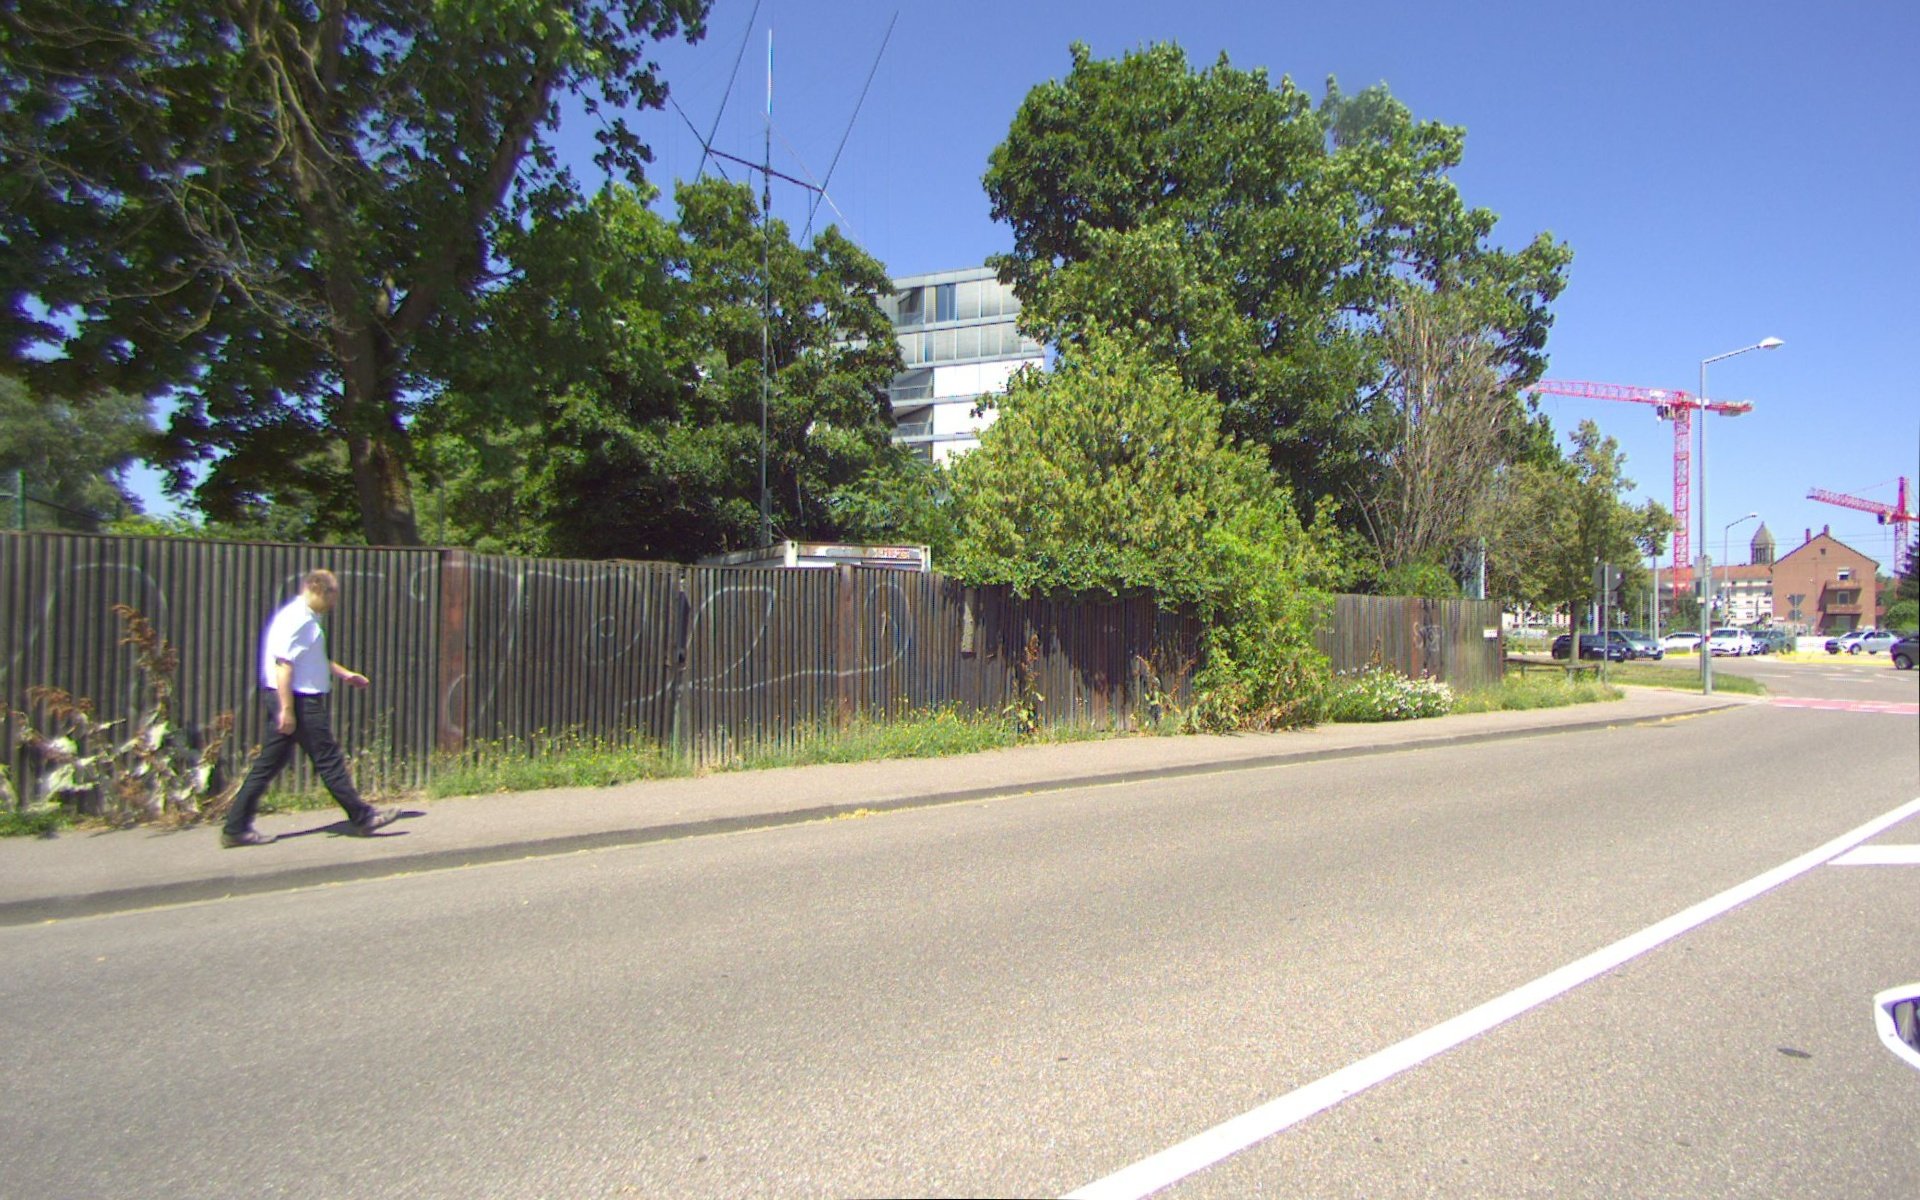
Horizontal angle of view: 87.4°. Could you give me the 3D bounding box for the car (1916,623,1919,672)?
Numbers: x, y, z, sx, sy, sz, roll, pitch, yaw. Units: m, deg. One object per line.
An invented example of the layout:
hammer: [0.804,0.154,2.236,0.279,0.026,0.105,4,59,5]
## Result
car: [32.814,1.575,31.432,1.650,1.641,4.006,1,-1,-9]

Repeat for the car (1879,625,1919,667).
car: [36.300,1.651,36.486,1.620,1.515,3.988,1,-4,-16]

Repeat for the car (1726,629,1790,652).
car: [46.698,2.385,58.803,3.742,1.253,1.699,2,-1,-30]

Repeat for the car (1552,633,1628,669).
car: [31.598,2.521,50.529,1.701,1.641,4.015,1,-1,8]

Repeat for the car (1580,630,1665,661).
car: [35.259,2.388,53.615,1.766,1.516,3.999,1,-1,-3]

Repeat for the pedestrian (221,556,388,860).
pedestrian: [-4.259,0.665,6.586,0.841,1.849,0.589,1,0,-30]

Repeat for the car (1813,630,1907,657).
car: [55.608,2.684,62.123,4.136,1.520,1.713,1,0,3]

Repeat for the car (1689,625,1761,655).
car: [42.189,2.224,55.380,3.953,1.570,1.748,2,-1,-30]

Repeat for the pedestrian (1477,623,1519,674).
pedestrian: [17.250,1.546,32.228,0.796,1.584,0.876,1,0,-7]
